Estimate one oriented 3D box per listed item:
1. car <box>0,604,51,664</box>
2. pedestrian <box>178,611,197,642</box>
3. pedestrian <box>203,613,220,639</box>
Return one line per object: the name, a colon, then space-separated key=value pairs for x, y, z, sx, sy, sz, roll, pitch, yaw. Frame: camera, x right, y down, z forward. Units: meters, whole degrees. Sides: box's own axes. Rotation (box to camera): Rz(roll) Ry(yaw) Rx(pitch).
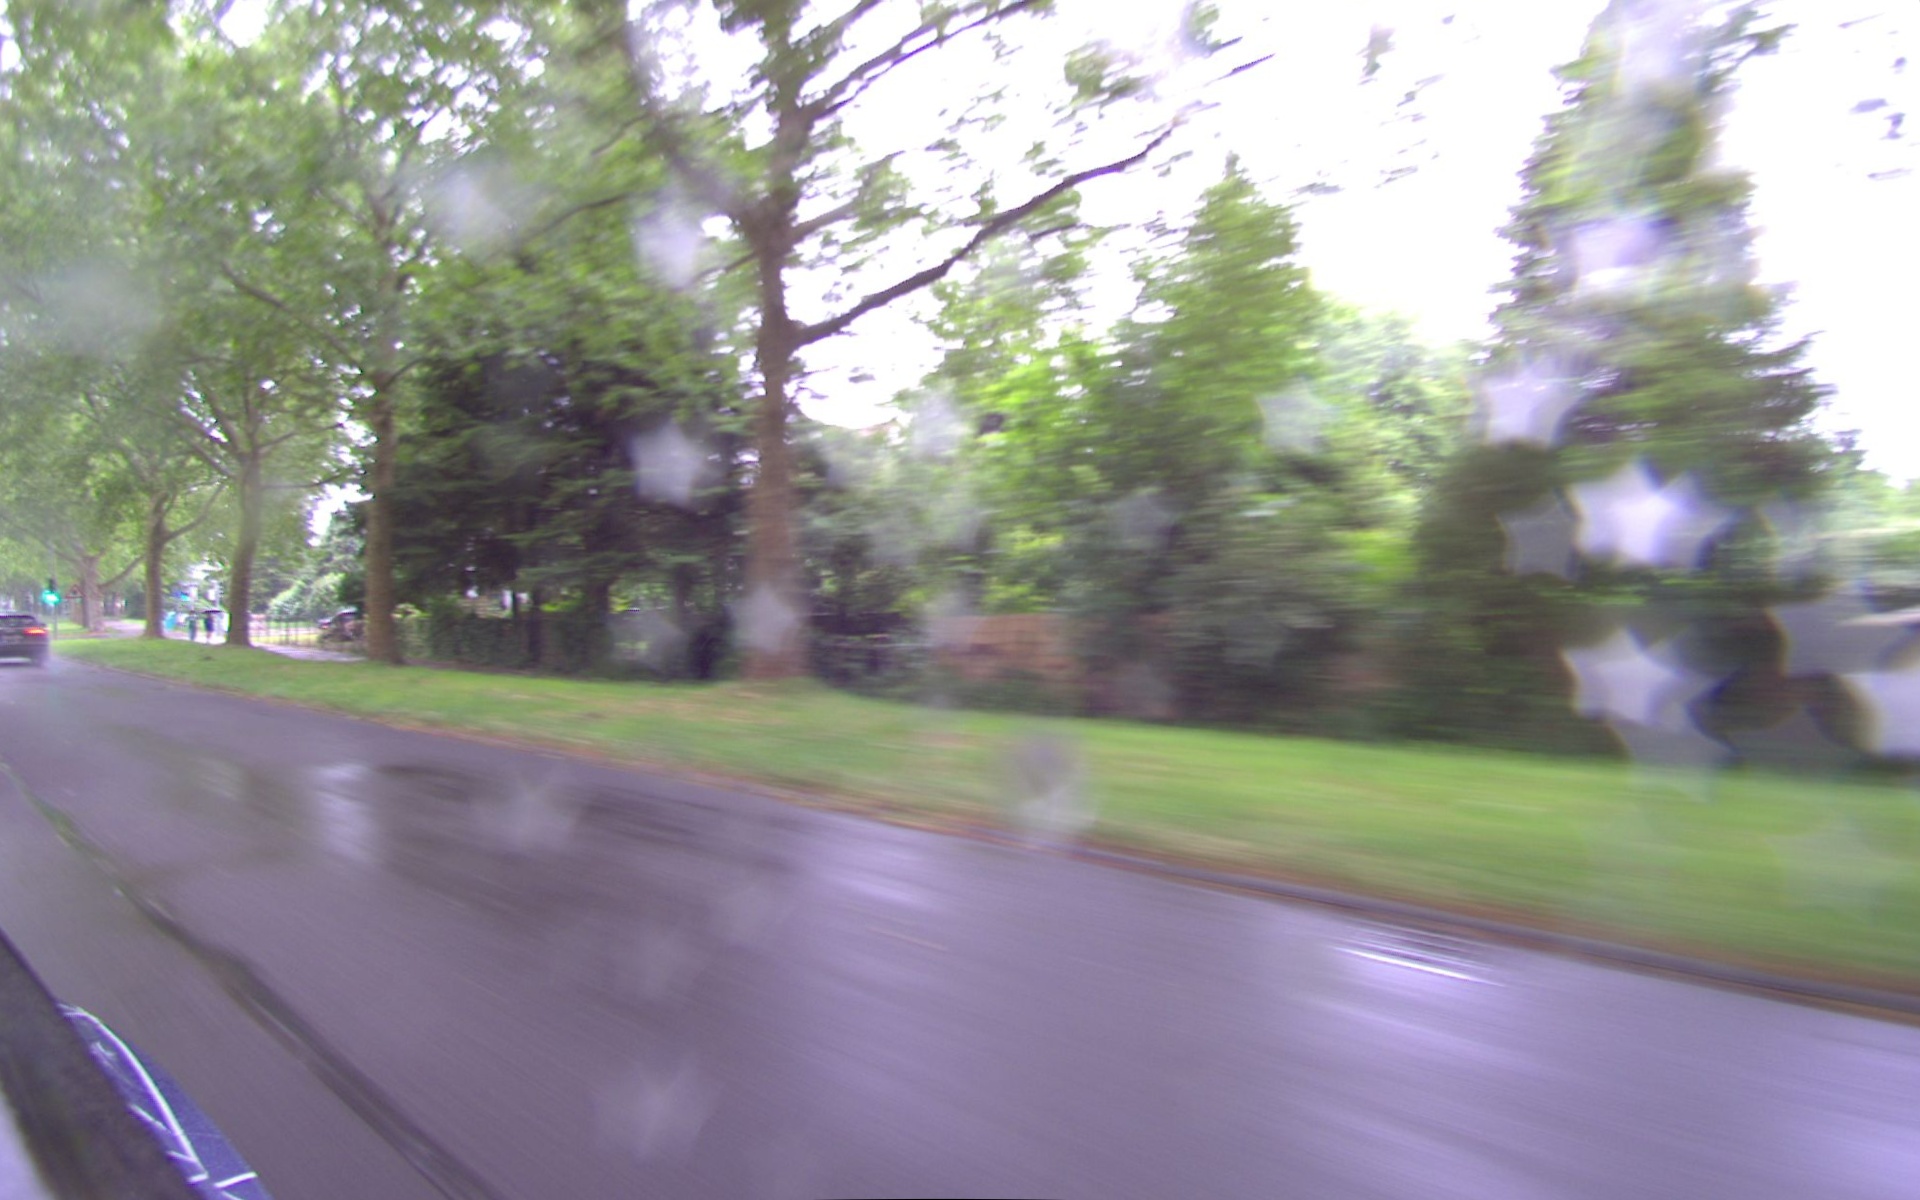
car: x=-30.071 y=1.047 z=31.763 sx=4.454 sy=1.741 sz=1.789 roll=-1 pitch=1 yaw=42
pedestrian: x=-38.217 y=1.308 z=50.076 sx=0.857 sy=1.464 sz=0.591 roll=-1 pitch=1 yaw=44
pedestrian: x=-37.538 y=1.320 z=50.739 sx=0.849 sy=1.271 sz=0.510 roll=-1 pitch=1 yaw=44
